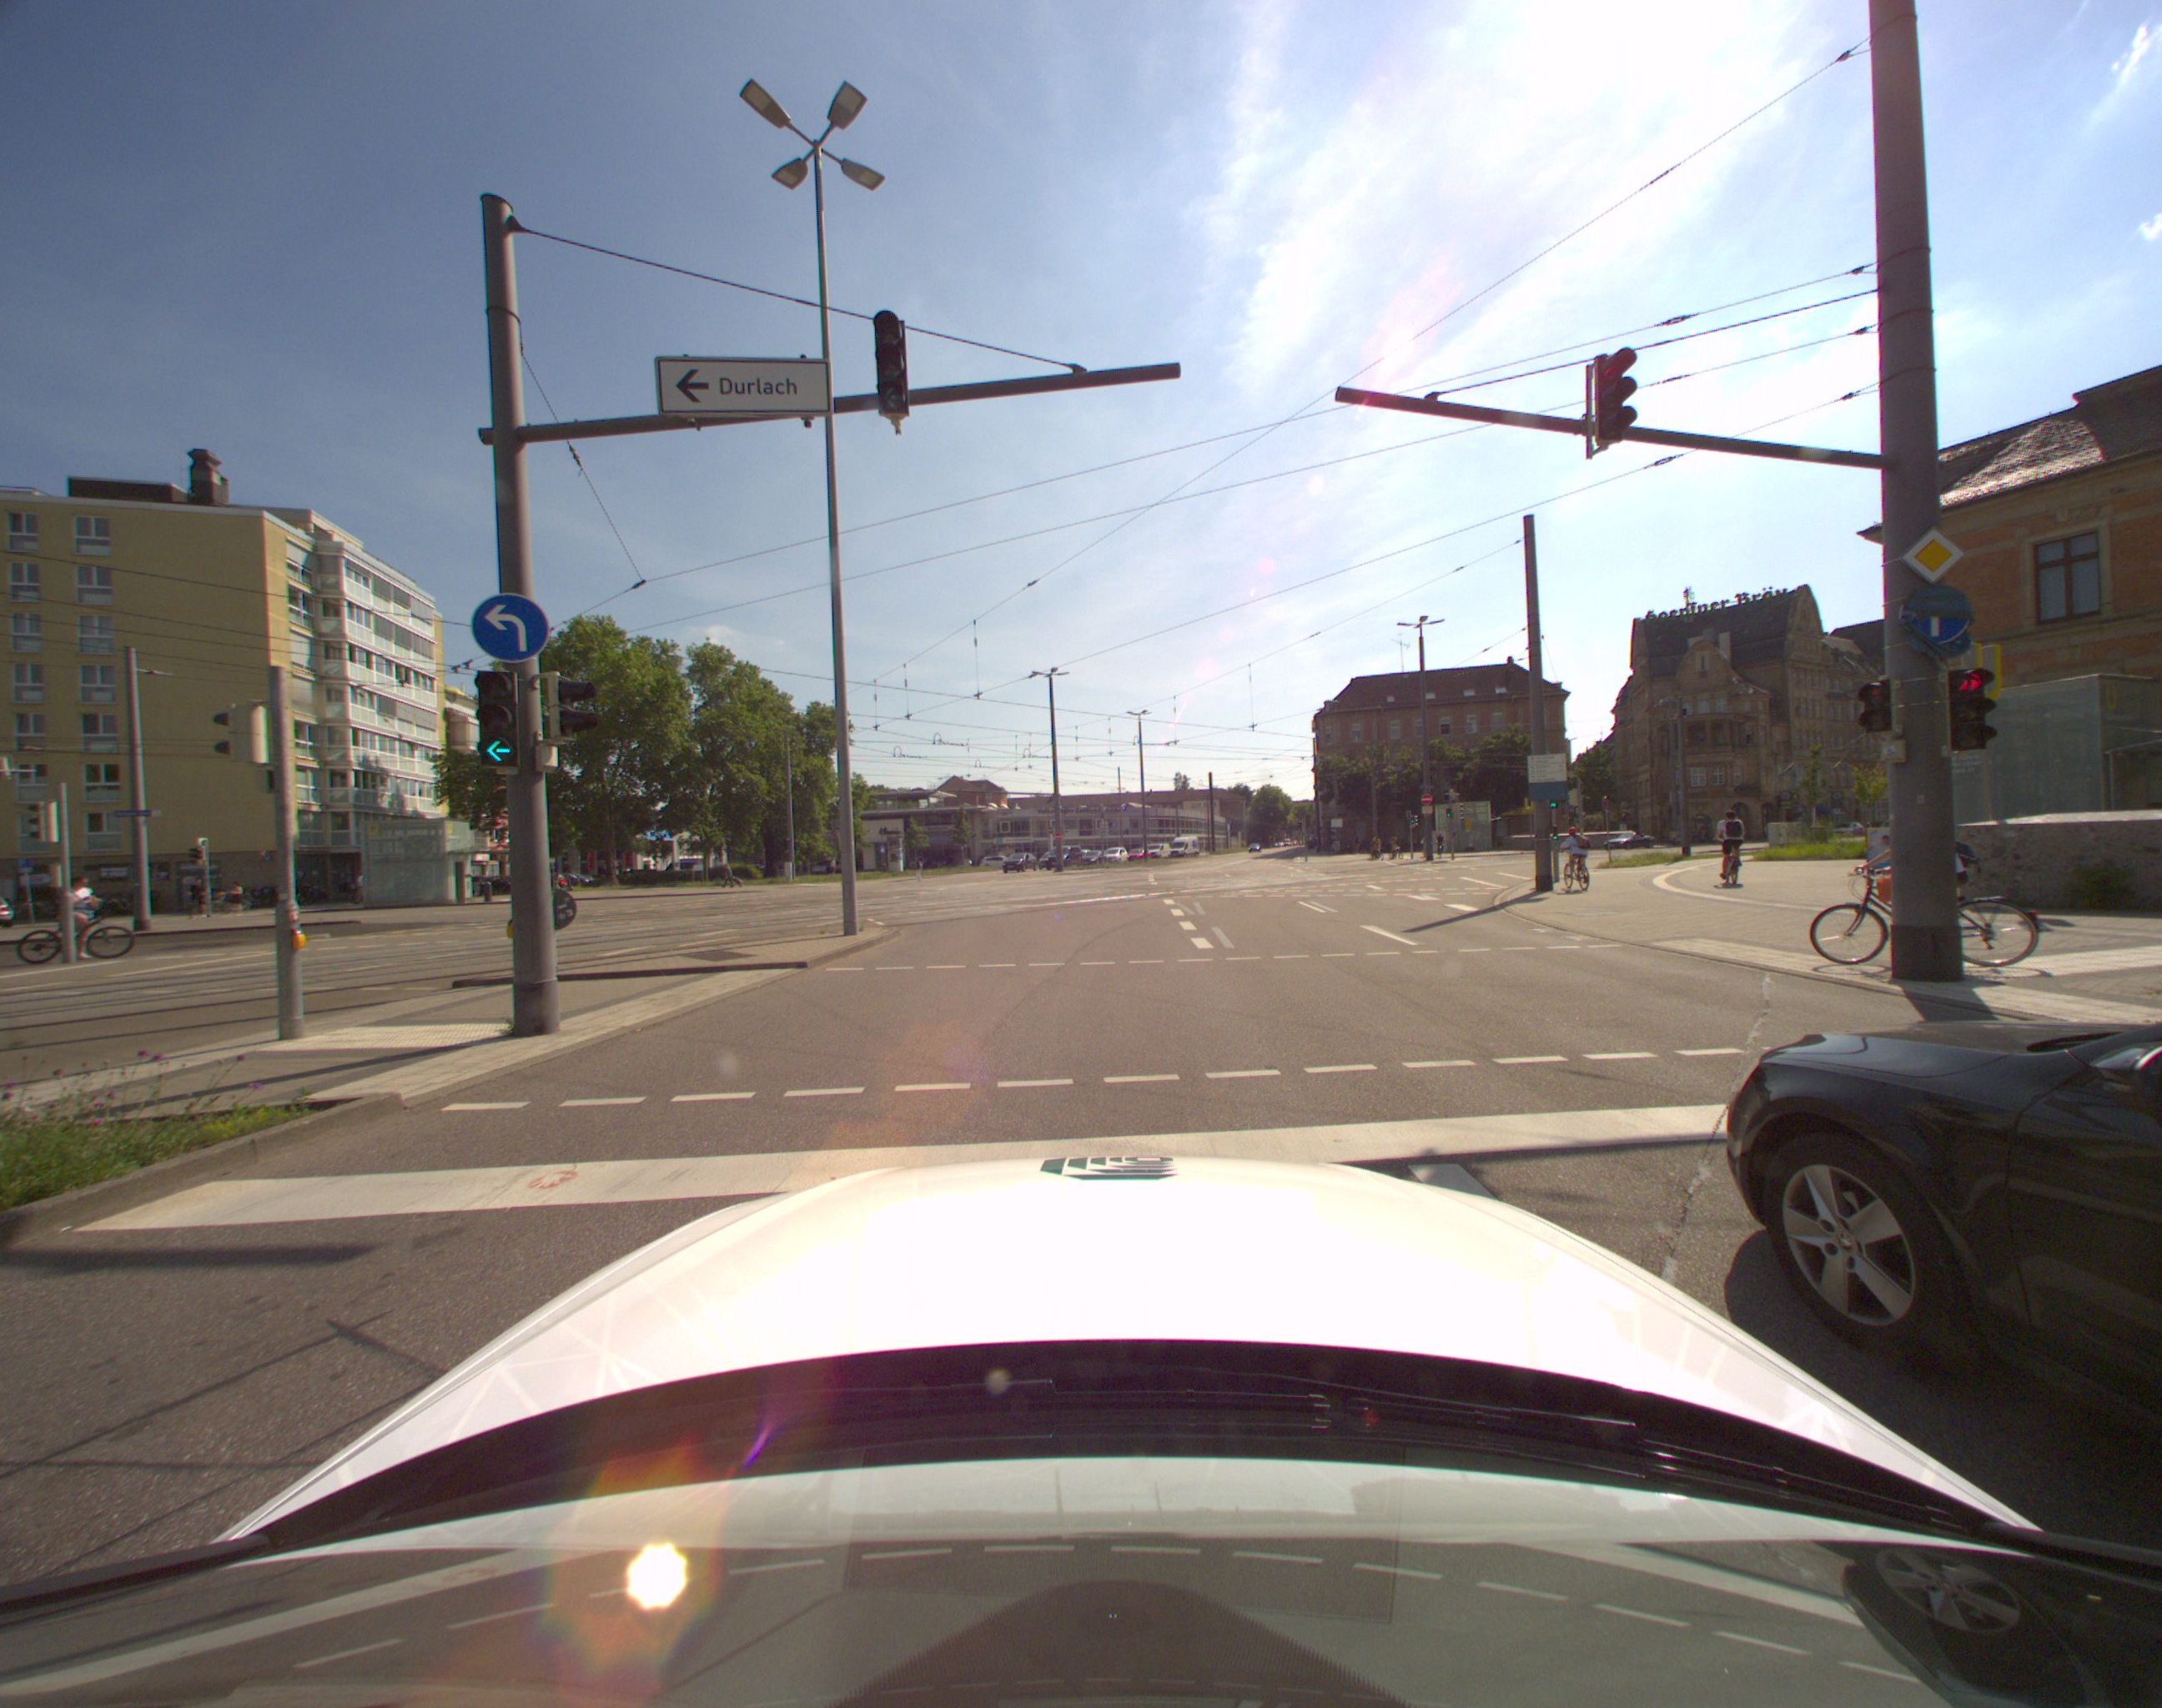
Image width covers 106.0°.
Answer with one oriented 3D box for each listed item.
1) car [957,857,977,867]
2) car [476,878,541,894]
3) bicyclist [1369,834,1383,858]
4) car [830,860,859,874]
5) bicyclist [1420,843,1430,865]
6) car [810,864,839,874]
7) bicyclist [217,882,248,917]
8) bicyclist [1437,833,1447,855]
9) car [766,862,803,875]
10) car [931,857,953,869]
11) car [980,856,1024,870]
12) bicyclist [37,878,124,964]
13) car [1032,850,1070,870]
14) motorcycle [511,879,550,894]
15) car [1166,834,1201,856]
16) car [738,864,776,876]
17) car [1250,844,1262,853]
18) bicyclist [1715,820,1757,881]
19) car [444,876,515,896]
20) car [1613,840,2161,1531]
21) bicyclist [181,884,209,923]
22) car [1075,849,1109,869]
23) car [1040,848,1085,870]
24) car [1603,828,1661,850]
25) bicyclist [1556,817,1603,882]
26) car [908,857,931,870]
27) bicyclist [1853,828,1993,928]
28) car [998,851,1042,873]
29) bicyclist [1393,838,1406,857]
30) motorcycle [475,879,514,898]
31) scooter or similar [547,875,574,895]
[{"bbox_3d":[-14.095,0.951,100.500,1.824,1.195,4.000,0,0,1],"label":"car"},{"bbox_3d":[-47.304,2.640,67.382,3.994,1.270,1.735,0,-1,-15],"label":"car"},{"bbox_3d":[22.367,-0.577,61.677,0.919,1.820,1.057,-1,-1,16],"label":"bicyclist"},{"bbox_3d":[-29.626,1.614,102.124,1.983,1.684,4.008,0,-1,7],"label":"car"},{"bbox_3d":[25.913,-0.015,61.325,0.497,1.621,0.651,0,0,7],"label":"bicyclist"},{"bbox_3d":[-31.988,1.847,101.784,1.983,1.244,4.008,0,0,7],"label":"car"},{"bbox_3d":[-39.262,2.109,37.671,0.728,1.572,0.613,-3,-1,2],"label":"bicyclist"},{"bbox_3d":[26.708,-0.747,60.215,0.661,1.624,0.787,-1,0,24],"label":"bicyclist"},{"bbox_3d":[-38.576,1.855,105.936,3.974,1.552,2.000,-2,0,0],"label":"car"},{"bbox_3d":[-17.256,1.096,100.964,1.987,1.486,4.000,0,0,0],"label":"car"},{"bbox_3d":[-8.542,0.942,87.886,4.550,1.436,1.450,-1,-1,15],"label":"car"},{"bbox_3d":[-20.917,1.375,17.044,0.774,1.684,0.749,-4,0,-9],"label":"bicyclist"},{"bbox_3d":[-2.571,0.517,71.025,1.879,1.588,4.019,-3,-1,19],"label":"car"},{"bbox_3d":[-36.862,2.188,54.562,0.632,0.842,2.051,-2,0,35],"label":"motorcycle"},{"bbox_3d":[12.578,-1.032,99.516,2.188,2.575,5.910,-1,-1,28],"label":"car"},{"bbox_3d":[-40.971,2.015,102.947,3.973,1.371,2.000,0,0,1],"label":"car"},{"bbox_3d":[28.617,-0.959,133.111,1.372,1.414,3.028,-1,-1,21],"label":"car"},{"bbox_3d":[16.370,-0.085,20.370,0.707,1.488,0.956,-1,-1,32],"label":"bicyclist"},{"bbox_3d":[-46.433,2.427,62.957,3.994,1.440,1.881,0,-1,-15],"label":"car"},{"bbox_3d":[3.044,0.671,1.035,1.625,1.435,4.779,-1,-1,0],"label":"car"},{"bbox_3d":[-40.785,2.255,37.494,0.584,1.735,0.613,-3,-1,-22],"label":"bicyclist"},{"bbox_3d":[0.997,0.453,71.290,1.880,1.588,4.017,-3,-1,16],"label":"car"},{"bbox_3d":[-1.420,0.362,64.430,1.945,1.587,4.739,-2,0,19],"label":"car"},{"bbox_3d":[42.909,-1.141,63.422,3.998,1.584,1.628,-2,0,-18],"label":"car"},{"bbox_3d":[13.516,-0.119,22.105,0.710,1.669,0.877,-5,-1,10],"label":"bicyclist"},{"bbox_3d":[-20.028,1.172,101.058,1.987,1.486,4.000,0,0,0],"label":"car"},{"bbox_3d":[9.321,0.264,9.064,0.904,1.029,0.721,-5,-1,35],"label":"bicyclist"},{"bbox_3d":[-4.757,0.648,64.261,1.876,1.588,4.230,-3,-1,19],"label":"car"},{"bbox_3d":[23.840,-0.481,60.993,0.918,1.451,1.258,-1,1,21],"label":"bicyclist"},{"bbox_3d":[-35.744,2.120,49.650,2.019,1.062,0.642,-2,0,9],"label":"motorcycle"},{"bbox_3d":[-32.095,1.905,50.210,1.351,1.119,0.519,-2,0,11],"label":"scooter or similar"}]
